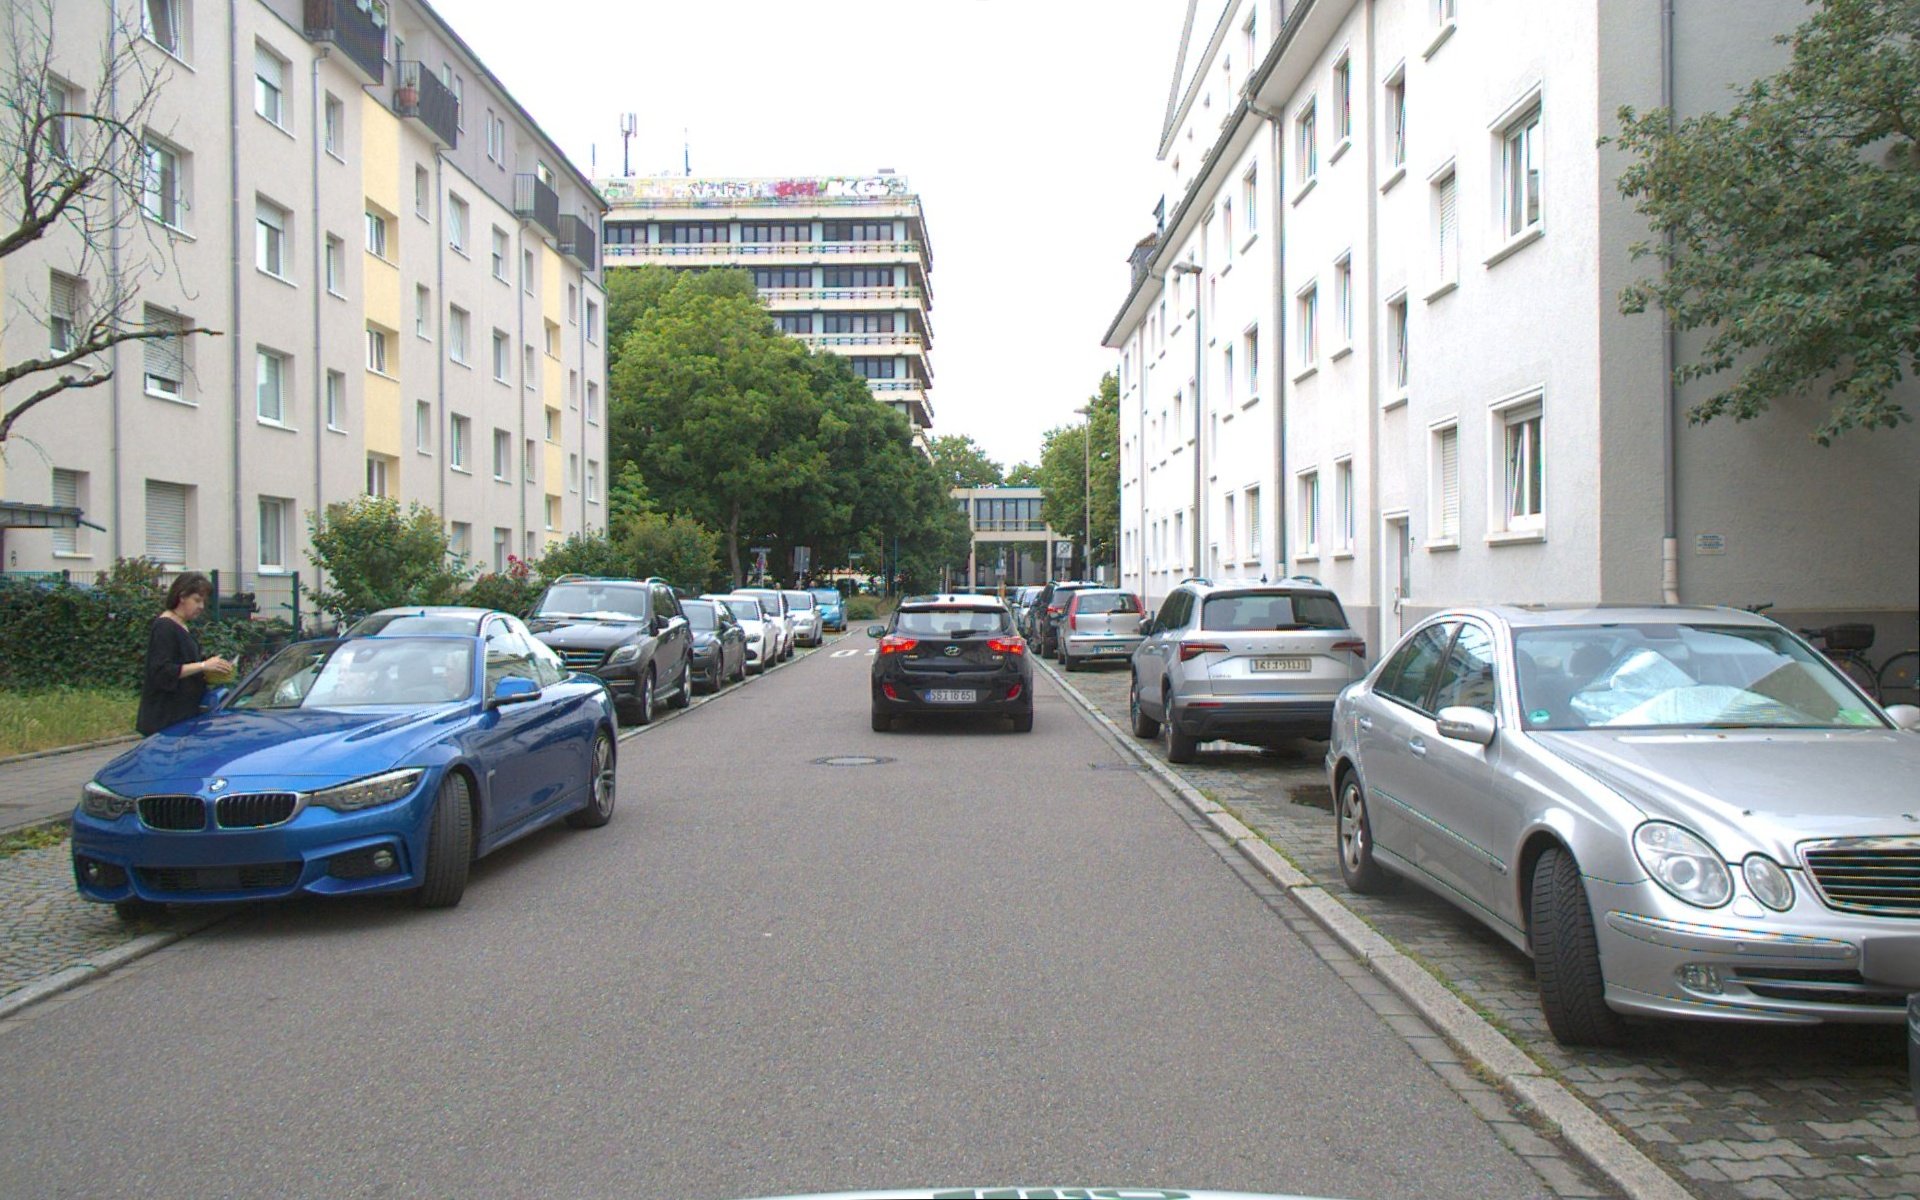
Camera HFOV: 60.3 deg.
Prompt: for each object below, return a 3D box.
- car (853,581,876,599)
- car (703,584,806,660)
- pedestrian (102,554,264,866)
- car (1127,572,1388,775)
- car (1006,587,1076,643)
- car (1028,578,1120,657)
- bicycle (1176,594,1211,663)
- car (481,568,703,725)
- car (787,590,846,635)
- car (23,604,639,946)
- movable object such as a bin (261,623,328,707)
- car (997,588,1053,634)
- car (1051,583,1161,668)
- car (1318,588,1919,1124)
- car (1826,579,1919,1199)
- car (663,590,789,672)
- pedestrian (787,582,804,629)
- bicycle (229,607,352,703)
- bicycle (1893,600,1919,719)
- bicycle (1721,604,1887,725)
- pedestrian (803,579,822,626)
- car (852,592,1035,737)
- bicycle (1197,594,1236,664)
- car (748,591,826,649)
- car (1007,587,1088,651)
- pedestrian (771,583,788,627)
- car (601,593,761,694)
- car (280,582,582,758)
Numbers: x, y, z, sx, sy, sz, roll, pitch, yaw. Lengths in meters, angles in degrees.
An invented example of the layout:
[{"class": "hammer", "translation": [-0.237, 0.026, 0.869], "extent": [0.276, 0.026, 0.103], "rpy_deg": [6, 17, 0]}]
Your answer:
[{"class": "car", "translation": [-7.612, -0.819, 131.526], "extent": [1.631, 1.356, 3.395], "rpy_deg": [0, 1, 0]}, {"class": "car", "translation": [-4.802, 0.477, 39.265], "extent": [1.856, 1.626, 4.521], "rpy_deg": [2, 0, 0]}, {"class": "pedestrian", "translation": [-4.544, 0.609, 9.723], "extent": [0.729, 1.731, 0.792], "rpy_deg": [-1, 0, -18]}, {"class": "car", "translation": [2.675, 0.593, 15.765], "extent": [1.783, 1.671, 4.091], "rpy_deg": [0, 0, 1]}, {"class": "car", "translation": [2.330, 0.410, 48.774], "extent": [1.783, 1.546, 4.673], "rpy_deg": [0, 0, -1]}, {"class": "car", "translation": [2.474, 0.348, 36.703], "extent": [1.783, 1.631, 4.091], "rpy_deg": [0, 0, 1]}, {"class": "bicycle", "translation": [4.255, 0.506, 30.258], "extent": [0.519, 1.196, 2.038], "rpy_deg": [-1, 0, 6]}, {"class": "car", "translation": [-4.662, 0.530, 21.625], "extent": [1.856, 1.770, 4.474], "rpy_deg": [2, 0, 0]}, {"class": "car", "translation": [-5.163, 0.426, 59.890], "extent": [1.953, 1.568, 3.998], "rpy_deg": [1, 0, -3]}, {"class": "car", "translation": [-3.253, 0.786, 9.650], "extent": [1.807, 1.476, 4.501], "rpy_deg": [0, 0, 1]}, {"class": "movable object such as a bin", "translation": [-8.067, 0.784, 20.068], "extent": [0.540, 0.971, 0.635], "rpy_deg": [-1, 0, -1]}, {"class": "car", "translation": [2.285, 0.370, 59.163], "extent": [1.783, 1.546, 4.673], "rpy_deg": [-1, 0, -1]}, {"class": "car", "translation": [2.762, 0.441, 32.043], "extent": [1.783, 1.529, 4.091], "rpy_deg": [-1, 0, 1]}, {"class": "car", "translation": [2.828, 0.707, 6.907], "extent": [1.689, 1.502, 4.504], "rpy_deg": [0, 0, 0]}, {"class": "car", "translation": [2.938, 0.721, 2.174], "extent": [1.570, 1.502, 3.869], "rpy_deg": [0, 0, 0]}, {"class": "car", "translation": [-4.635, 0.572, 33.344], "extent": [1.856, 1.477, 4.521], "rpy_deg": [2, 0, 0]}, {"class": "pedestrian", "translation": [-6.579, 0.231, 66.351], "extent": [0.592, 1.863, 0.675], "rpy_deg": [0, 0, 1]}, {"class": "bicycle", "translation": [-9.442, 0.748, 23.428], "extent": [0.772, 1.233, 2.355], "rpy_deg": [-1, 1, 0]}, {"class": "bicycle", "translation": [9.457, 0.537, 15.252], "extent": [1.418, 1.081, 0.497], "rpy_deg": [0, 0, 2]}, {"class": "bicycle", "translation": [7.730, 0.584, 15.179], "extent": [1.266, 1.081, 0.497], "rpy_deg": [0, 0, 2]}, {"class": "pedestrian", "translation": [-5.890, 0.078, 66.052], "extent": [0.699, 1.863, 0.797], "rpy_deg": [0, 0, 1]}, {"class": "car", "translation": [-0.149, 0.651, 19.083], "extent": [1.864, 1.458, 4.233], "rpy_deg": [-1, 0, 0]}, {"class": "bicycle", "translation": [4.680, 0.510, 30.225], "extent": [0.564, 1.196, 2.038], "rpy_deg": [-1, 0, 5]}, {"class": "car", "translation": [-4.926, 0.534, 47.573], "extent": [1.953, 1.568, 3.998], "rpy_deg": [1, 0, -3]}, {"class": "car", "translation": [2.210, 0.437, 42.810], "extent": [1.783, 1.546, 4.673], "rpy_deg": [0, 0, -1]}, {"class": "pedestrian", "translation": [-7.221, 0.194, 66.037], "extent": [0.588, 1.743, 0.648], "rpy_deg": [0, 0, 1]}, {"class": "car", "translation": [-4.575, 0.657, 27.778], "extent": [1.856, 1.477, 4.666], "rpy_deg": [2, 0, 0]}, {"class": "car", "translation": [-4.969, 0.584, 16.077], "extent": [1.709, 1.490, 3.785], "rpy_deg": [-1, 0, 0]}]
